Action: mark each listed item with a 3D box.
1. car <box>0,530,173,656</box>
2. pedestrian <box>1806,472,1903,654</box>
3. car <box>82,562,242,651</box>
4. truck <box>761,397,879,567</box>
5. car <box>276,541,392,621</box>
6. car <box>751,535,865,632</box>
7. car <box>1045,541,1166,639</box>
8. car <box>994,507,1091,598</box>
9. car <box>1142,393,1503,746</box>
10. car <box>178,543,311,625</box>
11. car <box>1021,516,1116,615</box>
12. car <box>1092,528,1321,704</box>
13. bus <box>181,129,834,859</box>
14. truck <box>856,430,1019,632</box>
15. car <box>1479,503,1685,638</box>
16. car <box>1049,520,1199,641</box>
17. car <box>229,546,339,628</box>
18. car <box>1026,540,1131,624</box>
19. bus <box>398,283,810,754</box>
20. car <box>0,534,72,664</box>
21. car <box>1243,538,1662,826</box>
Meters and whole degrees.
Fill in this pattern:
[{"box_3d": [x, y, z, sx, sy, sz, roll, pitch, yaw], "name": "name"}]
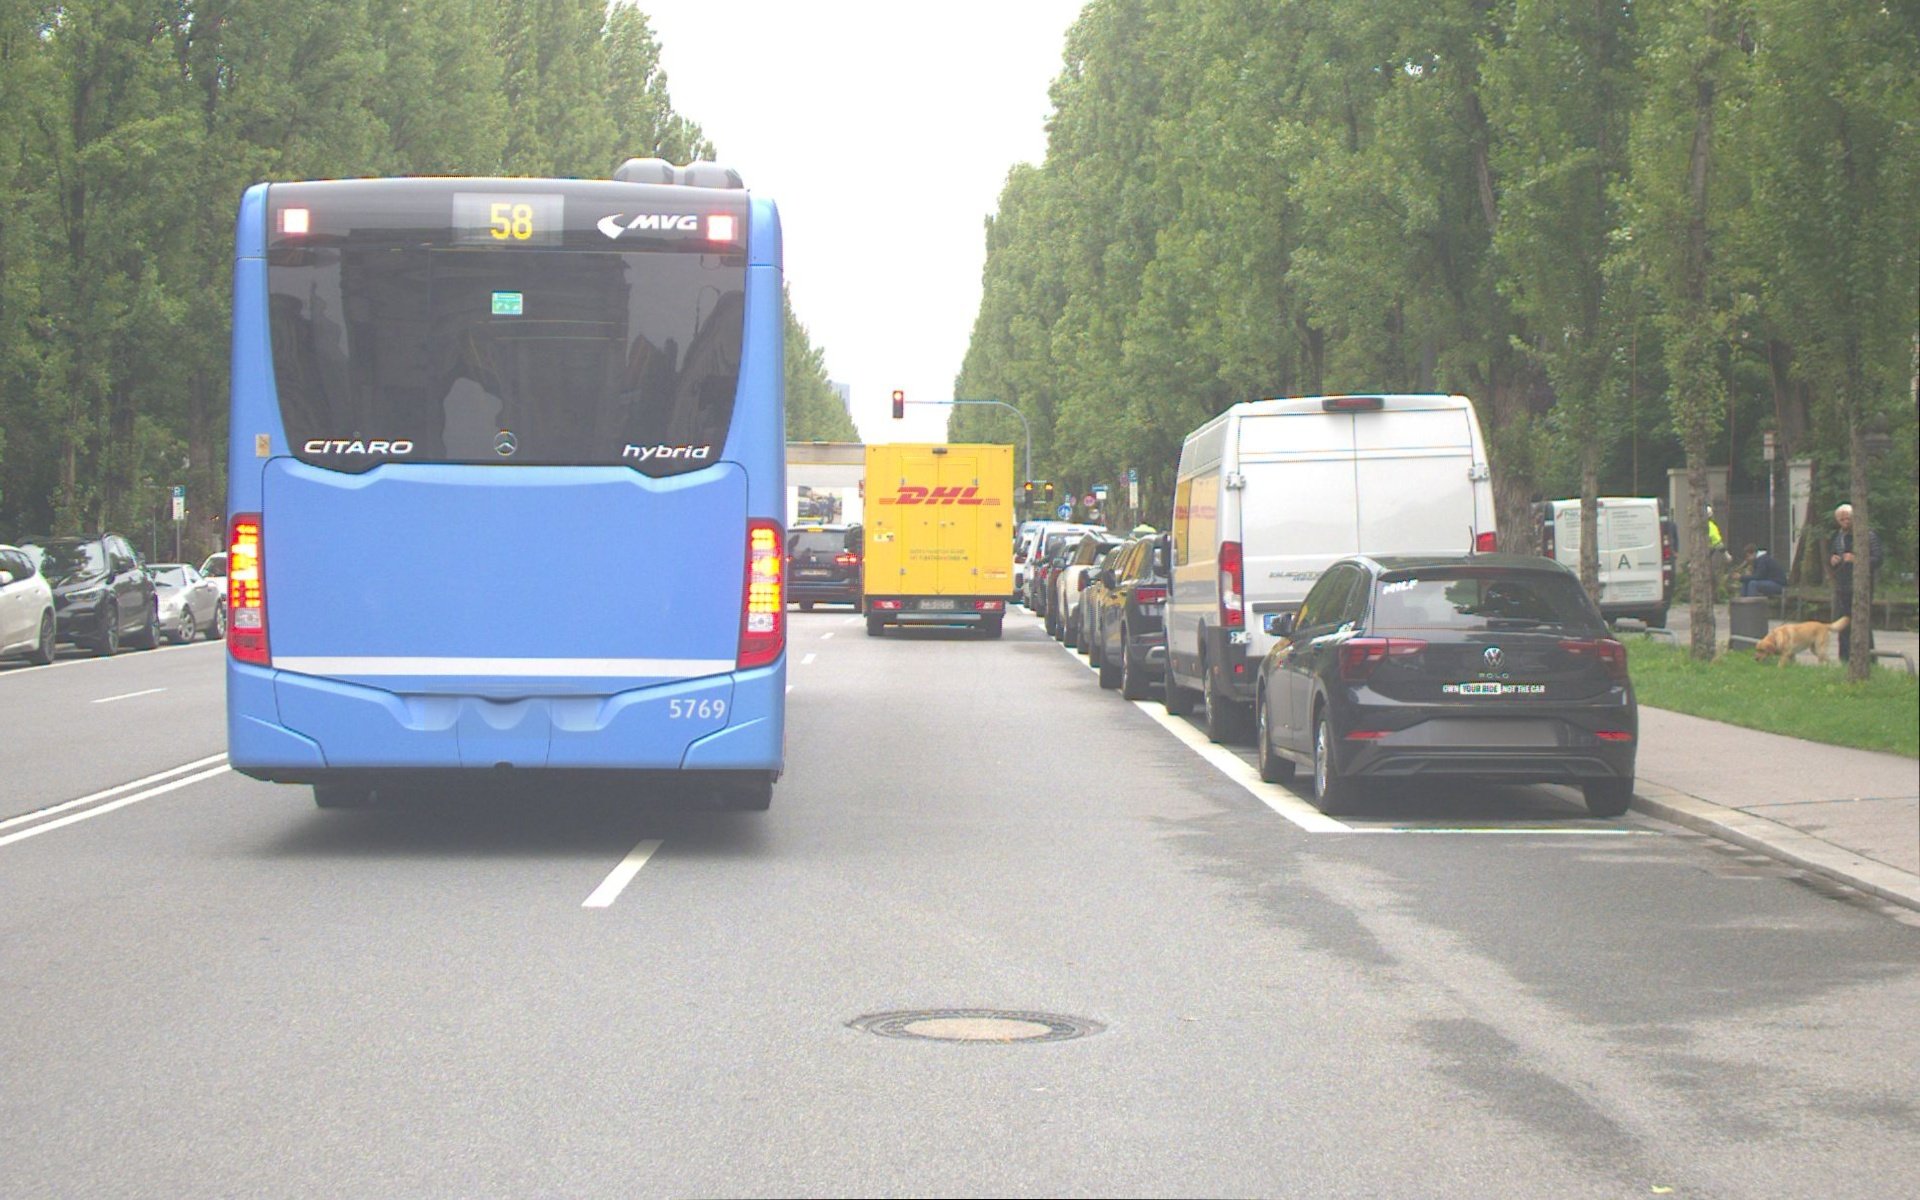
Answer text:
[{"box_3d": [-12.786, -0.140, 49.512, 1.880, 1.652, 4.719, -3, 1, -2], "name": "car"}, {"box_3d": [9.154, -0.383, 35.190, 0.653, 1.833, 0.786, -1, 1, -14], "name": "pedestrian"}, {"box_3d": [-12.769, 0.079, 55.224, 1.580, 1.300, 4.029, -2, 1, 0], "name": "car"}, {"box_3d": [-3.488, -2.840, 84.640, 2.715, 3.951, 9.219, 0, 1, -3], "name": "truck"}, {"box_3d": [-13.294, -0.424, 73.190, 1.814, 1.637, 4.000, 0, 1, -1], "name": "car"}, {"box_3d": [-2.939, -0.353, 67.354, 2.035, 1.795, 4.507, 0, 1, 0], "name": "car"}, {"box_3d": [2.250, -0.190, 54.167, 1.725, 1.490, 4.324, 0, 1, 0], "name": "car"}, {"box_3d": [1.851, -1.125, 79.039, 2.052, 2.007, 5.693, 0, 1, 0], "name": "car"}, {"box_3d": [2.732, -0.274, 27.458, 2.074, 2.470, 6.284, 1, 1, -1], "name": "car"}, {"box_3d": [-13.208, -0.320, 63.667, 1.685, 1.408, 4.005, -2, 1, -2], "name": "car"}, {"box_3d": [2.203, -0.730, 70.798, 1.806, 1.969, 4.237, 0, 1, 0], "name": "car"}, {"box_3d": [2.326, 0.114, 33.441, 1.821, 1.585, 4.223, 1, 1, -1], "name": "car"}, {"box_3d": [-2.237, -0.546, 19.696, 2.855, 3.202, 9.061, 0, 1, -3], "name": "bus"}, {"box_3d": [-0.401, -1.054, 53.050, 2.327, 2.888, 7.333, 0, 1, -1], "name": "truck"}, {"box_3d": [9.269, -0.467, 51.678, 1.993, 1.919, 5.324, 0, 1, -2], "name": "car"}, {"box_3d": [2.270, -0.300, 48.500, 1.780, 1.576, 4.147, 2, 1, -1], "name": "car"}, {"box_3d": [-13.404, -0.274, 68.326, 1.742, 1.513, 4.119, -2, 1, -6], "name": "car"}, {"box_3d": [2.219, -0.363, 65.287, 1.863, 1.546, 4.000, 0, 1, 0], "name": "car"}, {"box_3d": [-2.713, -0.654, 28.988, 2.871, 3.292, 9.791, 0, 1, -3], "name": "bus"}, {"box_3d": [-12.764, 0.003, 43.611, 1.785, 1.583, 4.461, -2, 1, 0], "name": "car"}, {"box_3d": [2.758, 0.397, 20.111, 1.754, 1.445, 4.000, 2, 1, -1], "name": "car"}]
